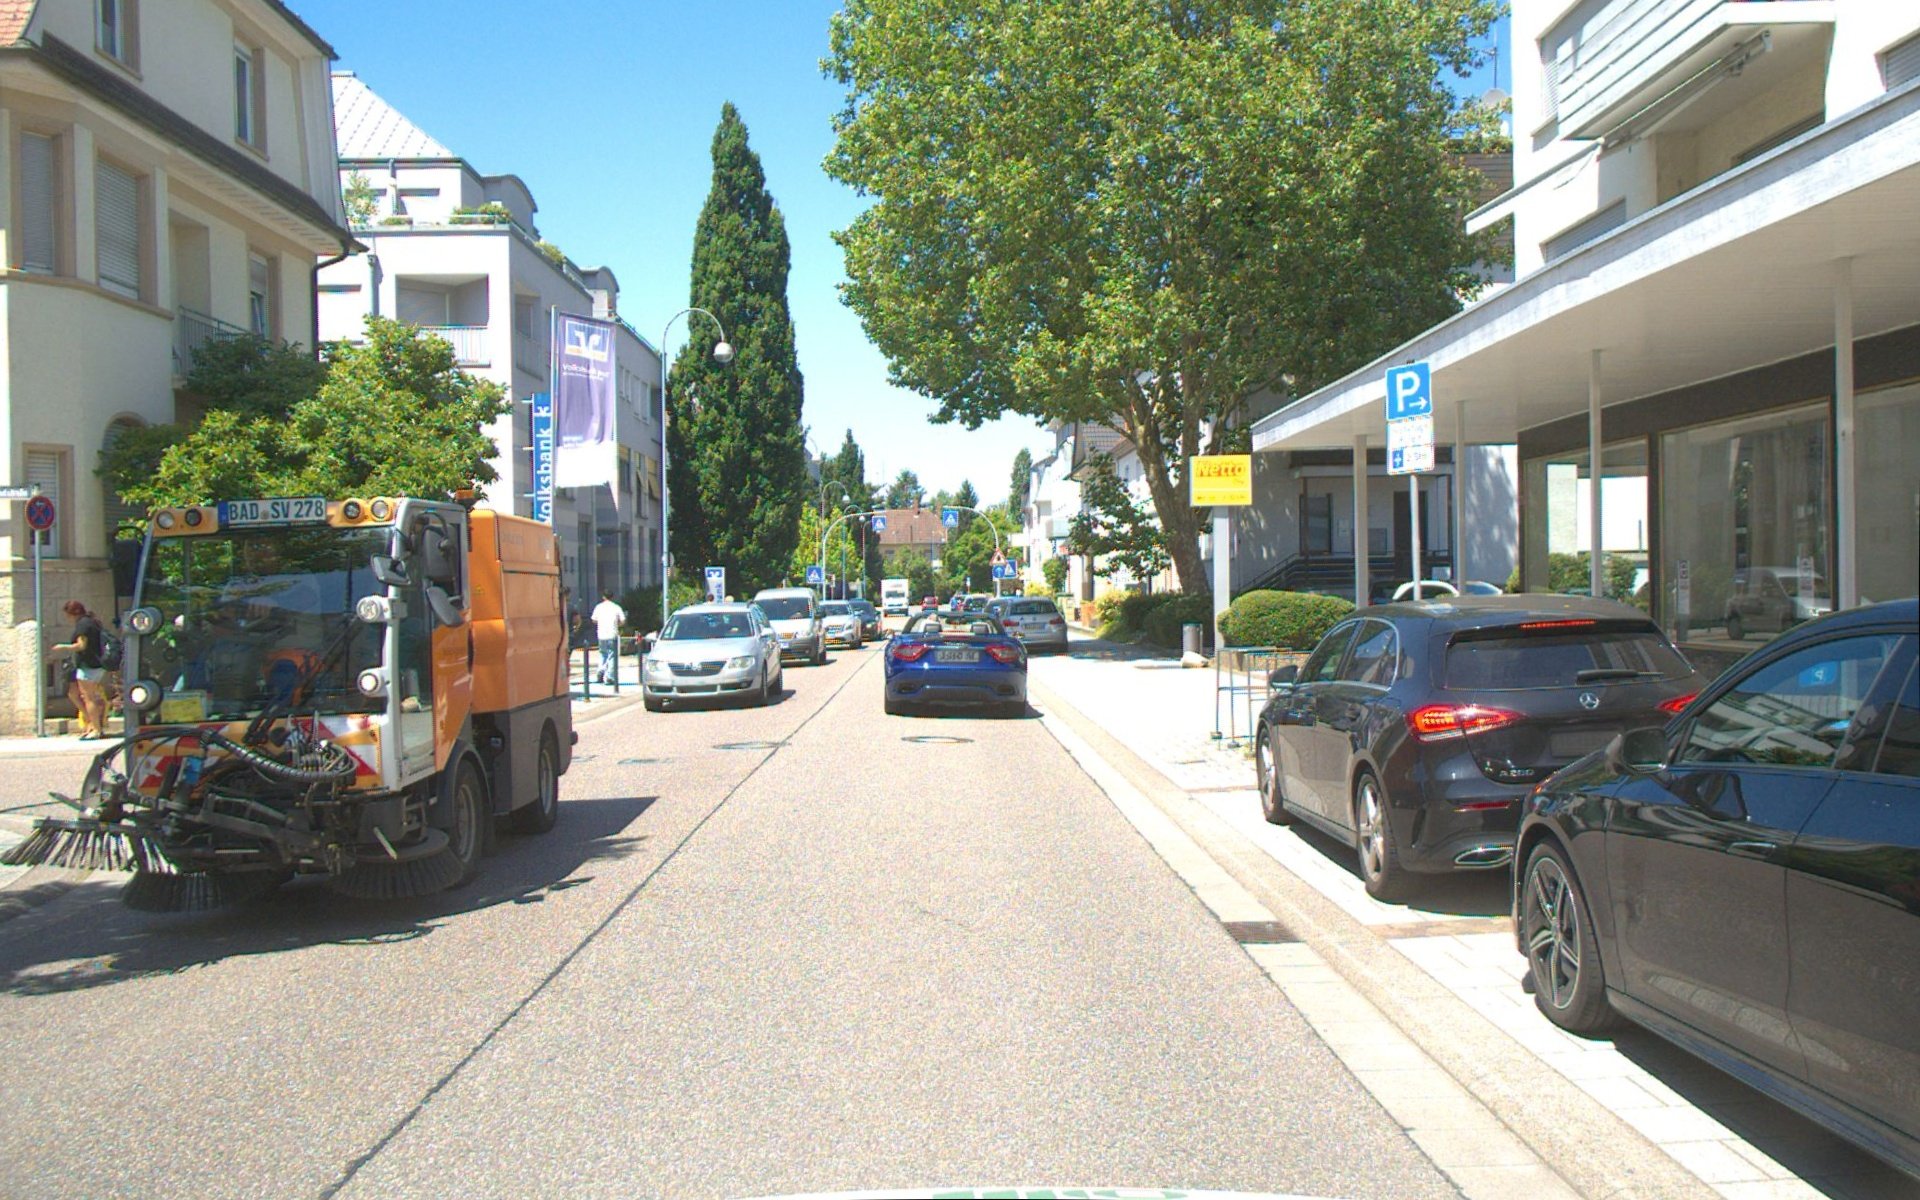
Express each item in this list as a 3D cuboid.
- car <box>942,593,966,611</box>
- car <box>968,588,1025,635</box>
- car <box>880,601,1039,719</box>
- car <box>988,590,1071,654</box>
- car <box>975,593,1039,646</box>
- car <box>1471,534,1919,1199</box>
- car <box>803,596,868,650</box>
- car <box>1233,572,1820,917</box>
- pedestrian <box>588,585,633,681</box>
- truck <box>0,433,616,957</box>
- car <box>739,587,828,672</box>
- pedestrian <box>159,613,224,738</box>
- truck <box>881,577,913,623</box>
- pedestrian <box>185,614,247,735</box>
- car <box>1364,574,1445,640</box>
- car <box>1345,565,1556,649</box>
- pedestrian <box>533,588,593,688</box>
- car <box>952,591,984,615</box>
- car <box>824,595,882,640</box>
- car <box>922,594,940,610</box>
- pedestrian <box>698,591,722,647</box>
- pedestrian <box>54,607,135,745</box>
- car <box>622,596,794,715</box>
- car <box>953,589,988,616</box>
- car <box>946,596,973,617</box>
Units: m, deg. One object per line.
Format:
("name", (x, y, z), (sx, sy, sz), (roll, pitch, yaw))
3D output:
("car", (-0.560, 0.193, 146.537), (1.911, 1.502, 4.136), (-3, 0, -2))
("car", (1.338, 0.419, 62.995), (1.936, 1.583, 4.348), (-3, 1, -1))
("car", (-0.069, 0.751, 22.696), (1.936, 1.422, 4.625), (1, 0, -2))
("car", (1.821, 0.563, 44.585), (1.936, 1.475, 4.348), (-3, 1, -1))
("car", (1.571, 0.636, 56.827), (1.936, 1.583, 4.348), (-3, 1, -1))
("car", (2.940, 0.601, 4.039), (1.856, 1.556, 4.568), (-3, 0, -1))
("car", (-3.800, 0.683, 51.065), (1.734, 1.502, 4.136), (-3, 0, -2))
("car", (2.856, 0.647, 9.407), (1.807, 1.439, 4.162), (-3, 0, -1))
("pedestrian", (-6.359, 0.608, 30.111), (0.618, 1.720, 0.961), (0, -2, -1))
("truck", (-3.345, 0.375, 9.418), (1.768, 2.154, 4.714), (-3, 1, -1))
("car", (-4.093, 0.643, 38.924), (1.734, 1.798, 4.136), (-3, 1, -2))
("pedestrian", (-9.077, 0.880, 19.556), (0.588, 1.395, 0.690), (-3, 2, -22))
("truck", (-5.175, -0.033, 135.733), (2.373, 3.542, 6.999), (-3, 0, -3))
("pedestrian", (-9.122, 0.903, 20.304), (0.588, 1.395, 0.690), (-3, 2, -22))
("car", (11.225, 0.148, 41.841), (1.804, 1.478, 4.003), (-4, 0, 15))
("car", (9.964, 0.174, 33.863), (1.824, 1.478, 3.962), (-4, 0, -28))
("pedestrian", (-7.187, 0.691, 29.977), (0.867, 1.780, 0.817), (0, -2, -2))
("car", (0.509, 0.185, 108.408), (1.911, 1.502, 4.136), (-3, 0, -2))
("car", (-3.895, 0.621, 60.674), (1.911, 1.502, 4.136), (-3, 0, -2))
("car", (-2.993, 0.213, 170.190), (1.734, 1.502, 4.136), (-1, 0, -2))
("pedestrian", (-7.274, 0.551, 48.185), (0.575, 1.602, 0.781), (-1, 0, -2))
("pedestrian", (-10.234, 0.883, 19.549), (0.683, 1.556, 0.594), (0, 3, 45))
("car", (-3.711, 0.761, 25.149), (1.910, 1.535, 4.795), (-3, 0, -1))
("car", (0.629, 0.143, 101.510), (1.911, 1.502, 4.136), (-3, 0, -2))
("car", (-0.072, 0.487, 129.756), (1.911, 1.502, 4.136), (-3, 0, -2))
